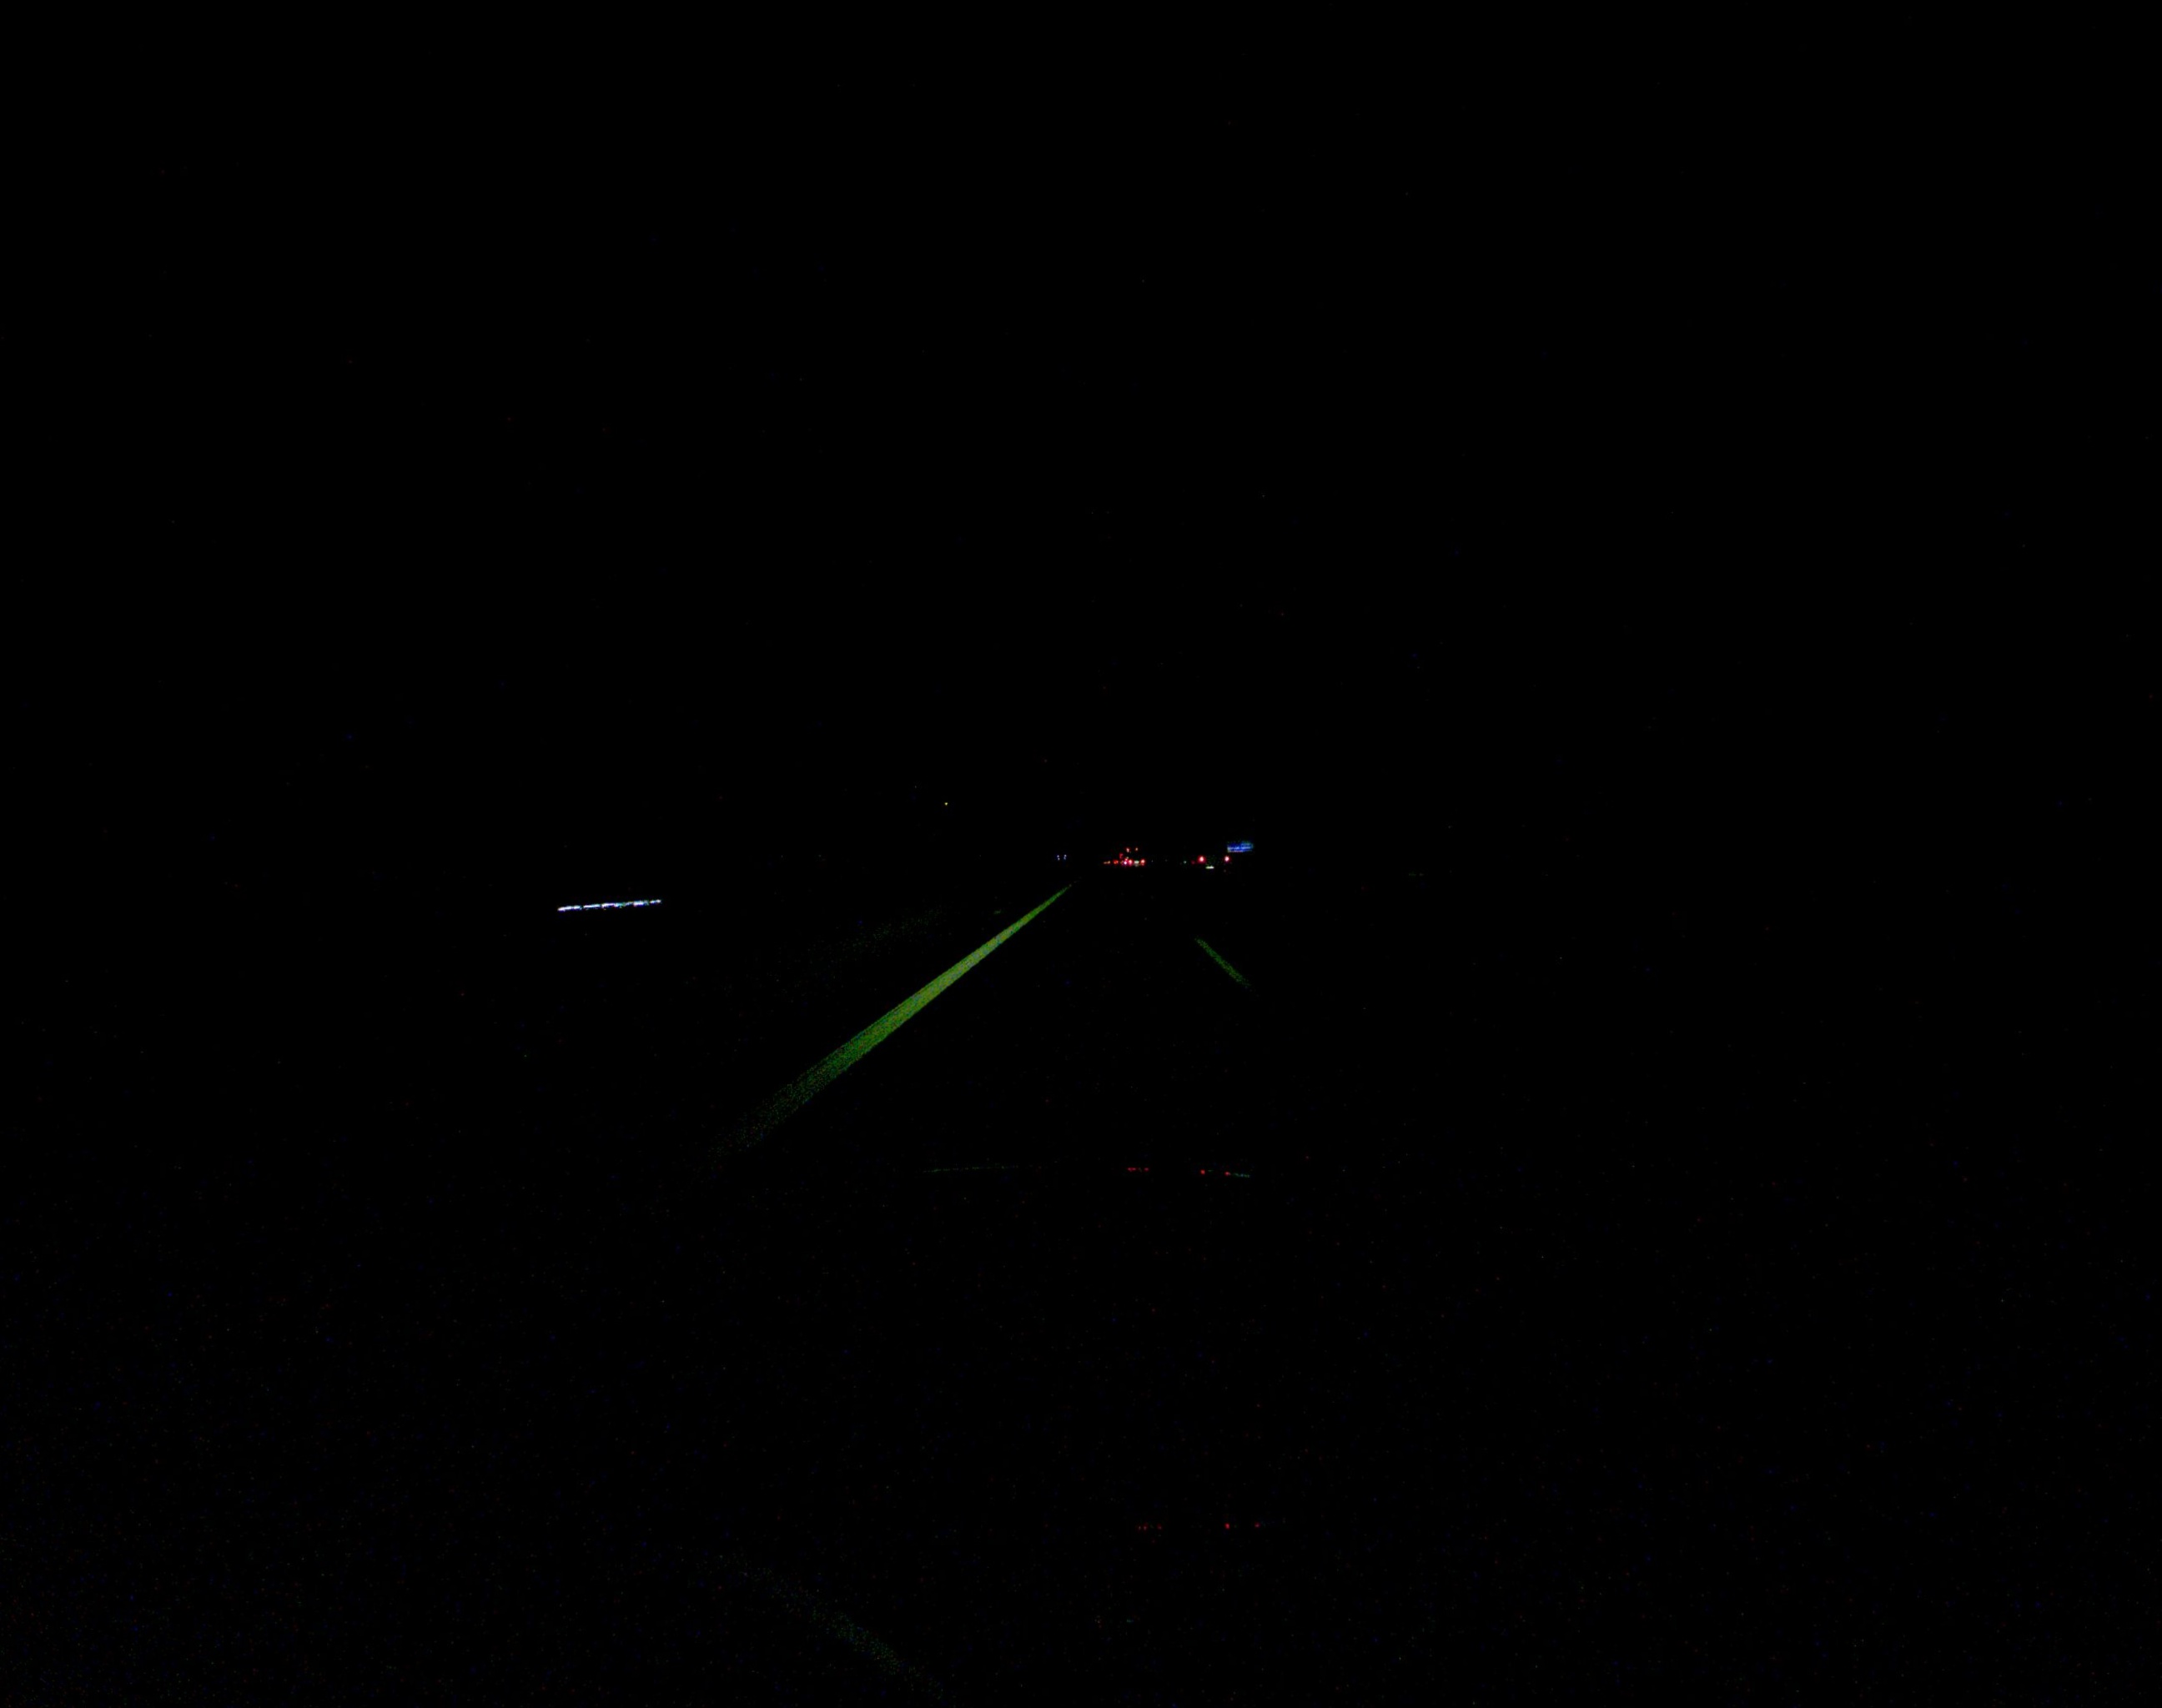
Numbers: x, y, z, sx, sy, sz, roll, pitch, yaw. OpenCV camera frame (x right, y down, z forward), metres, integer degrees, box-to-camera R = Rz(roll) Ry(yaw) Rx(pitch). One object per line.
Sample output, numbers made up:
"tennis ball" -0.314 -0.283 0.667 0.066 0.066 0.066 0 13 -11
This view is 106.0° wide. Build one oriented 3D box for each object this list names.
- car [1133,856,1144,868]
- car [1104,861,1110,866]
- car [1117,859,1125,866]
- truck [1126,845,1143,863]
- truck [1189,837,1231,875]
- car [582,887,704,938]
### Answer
"car" 6.879 0.972 97.666 1.340 1.387 3.504 0 1 3
"car" 7.905 2.902 246.727 1.813 1.466 4.251 0 1 3
"car" 10.160 2.150 206.672 1.813 1.466 4.251 0 1 3
"truck" 10.120 -0.094 155.945 3.032 3.324 10.149 0 1 3
"truck" 9.464 0.235 60.437 2.069 2.691 7.308 0 -2 1
"car" -14.848 1.933 27.930 1.632 1.551 4.471 0 -2 1
